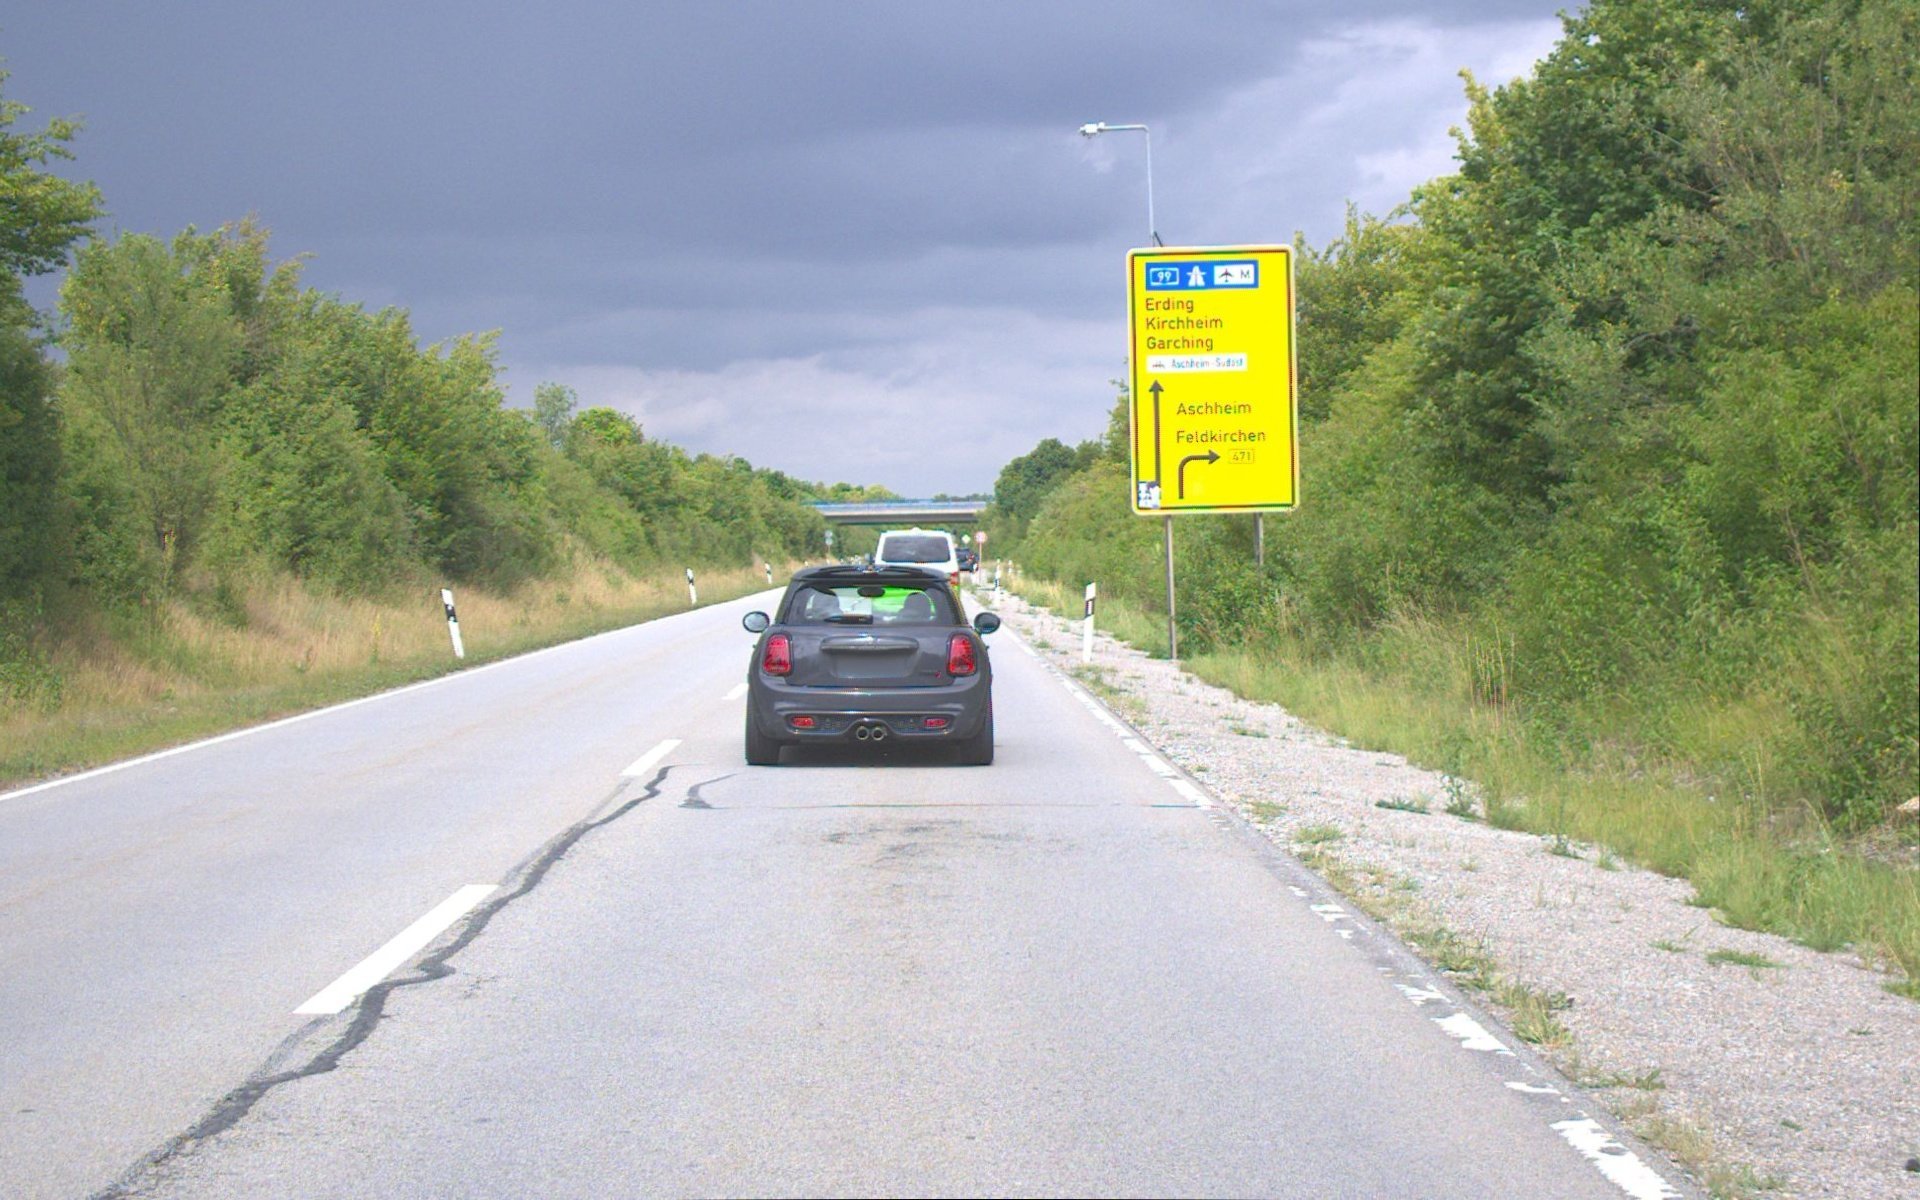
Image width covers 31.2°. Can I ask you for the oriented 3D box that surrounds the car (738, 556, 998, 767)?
[{"bbox_3d":[-0.654,0.392,25.381,1.756,1.422,4.000,1,1,-1],"label":"car"}]

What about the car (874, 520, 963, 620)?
[{"bbox_3d":[-0.889,-0.644,73.233,1.819,2.047,4.000,1,1,-1],"label":"car"}]
